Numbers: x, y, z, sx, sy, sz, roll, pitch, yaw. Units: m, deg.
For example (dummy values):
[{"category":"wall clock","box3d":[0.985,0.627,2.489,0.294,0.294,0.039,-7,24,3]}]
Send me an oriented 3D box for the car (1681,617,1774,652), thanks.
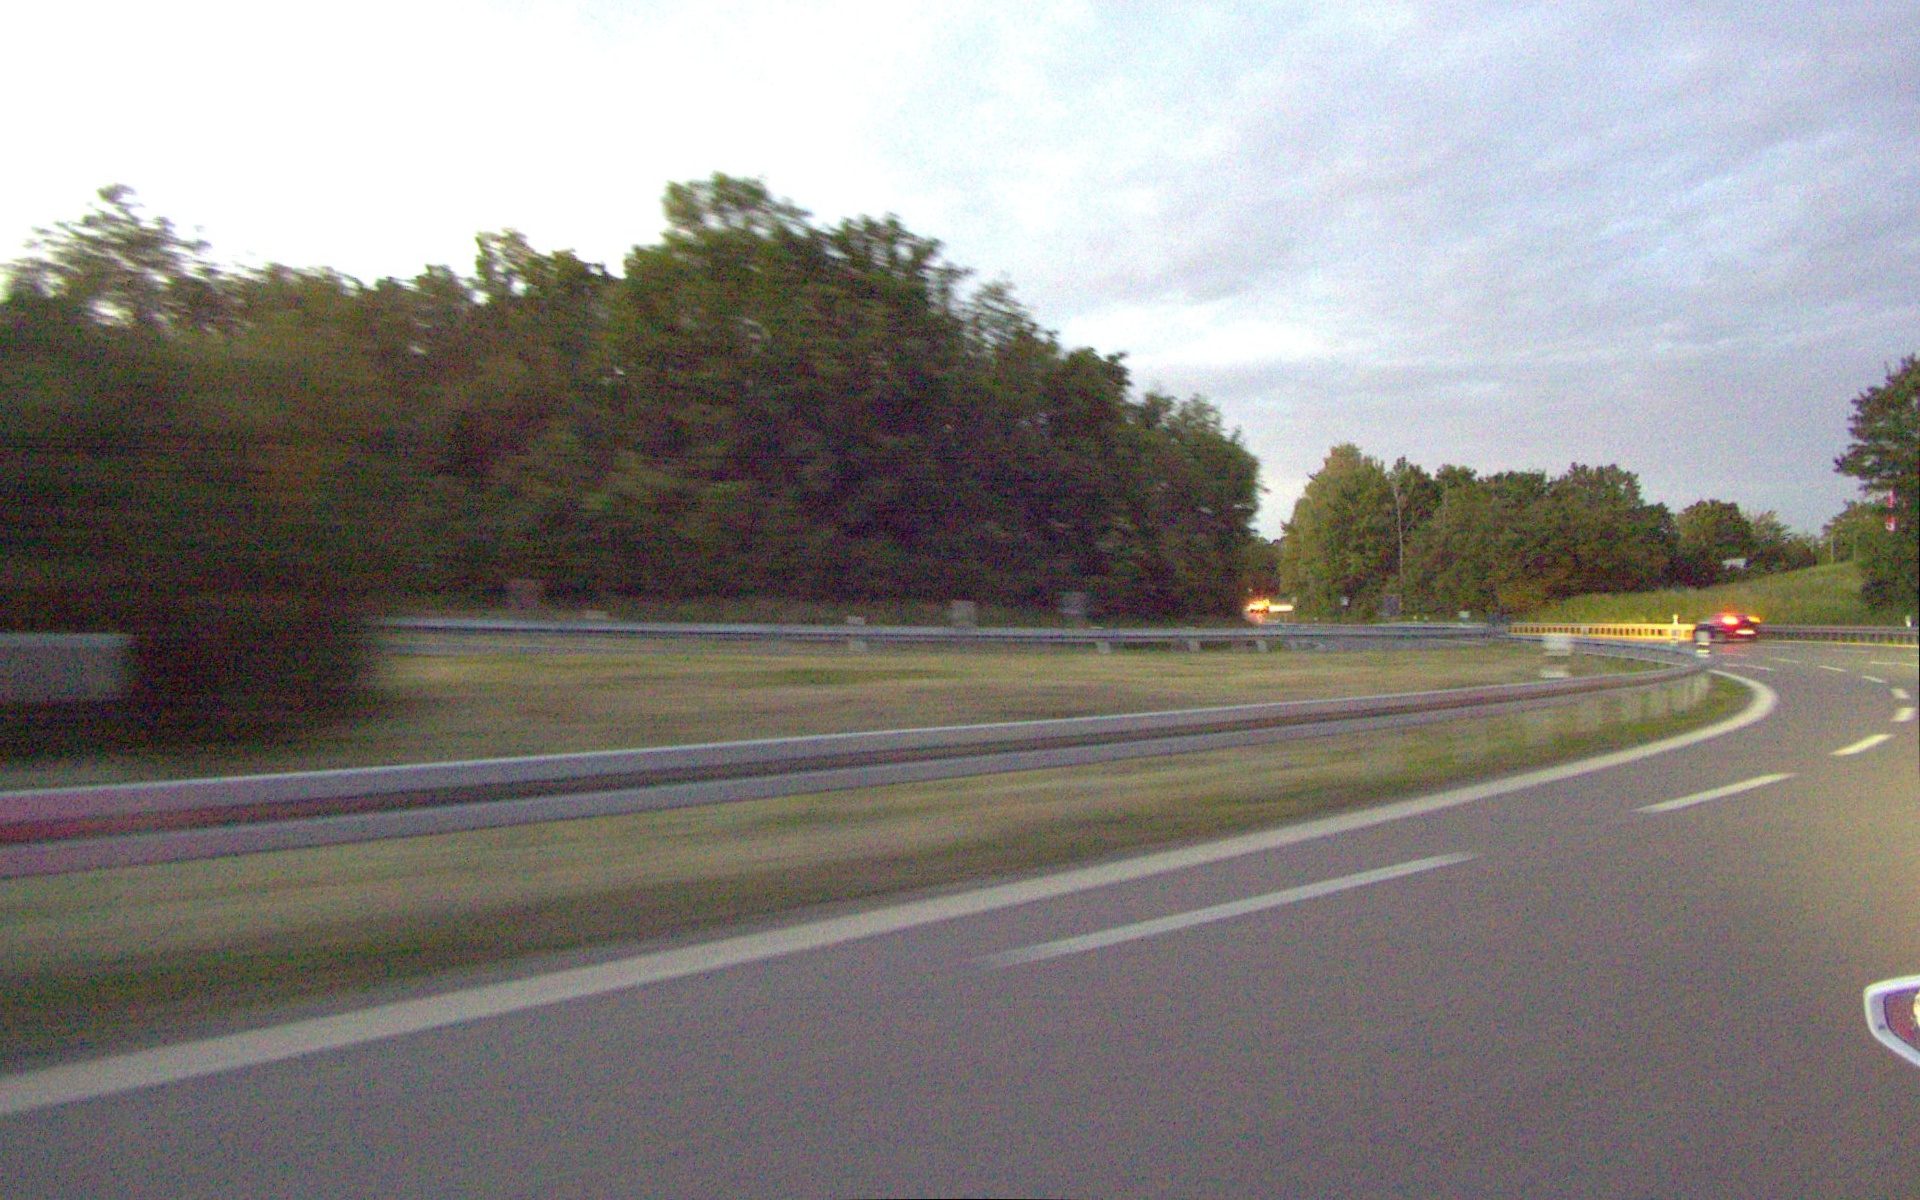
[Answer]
[{"category":"car","box3d":[40.059,1.768,52.522,1.960,1.620,4.001,1,0,4]}]
